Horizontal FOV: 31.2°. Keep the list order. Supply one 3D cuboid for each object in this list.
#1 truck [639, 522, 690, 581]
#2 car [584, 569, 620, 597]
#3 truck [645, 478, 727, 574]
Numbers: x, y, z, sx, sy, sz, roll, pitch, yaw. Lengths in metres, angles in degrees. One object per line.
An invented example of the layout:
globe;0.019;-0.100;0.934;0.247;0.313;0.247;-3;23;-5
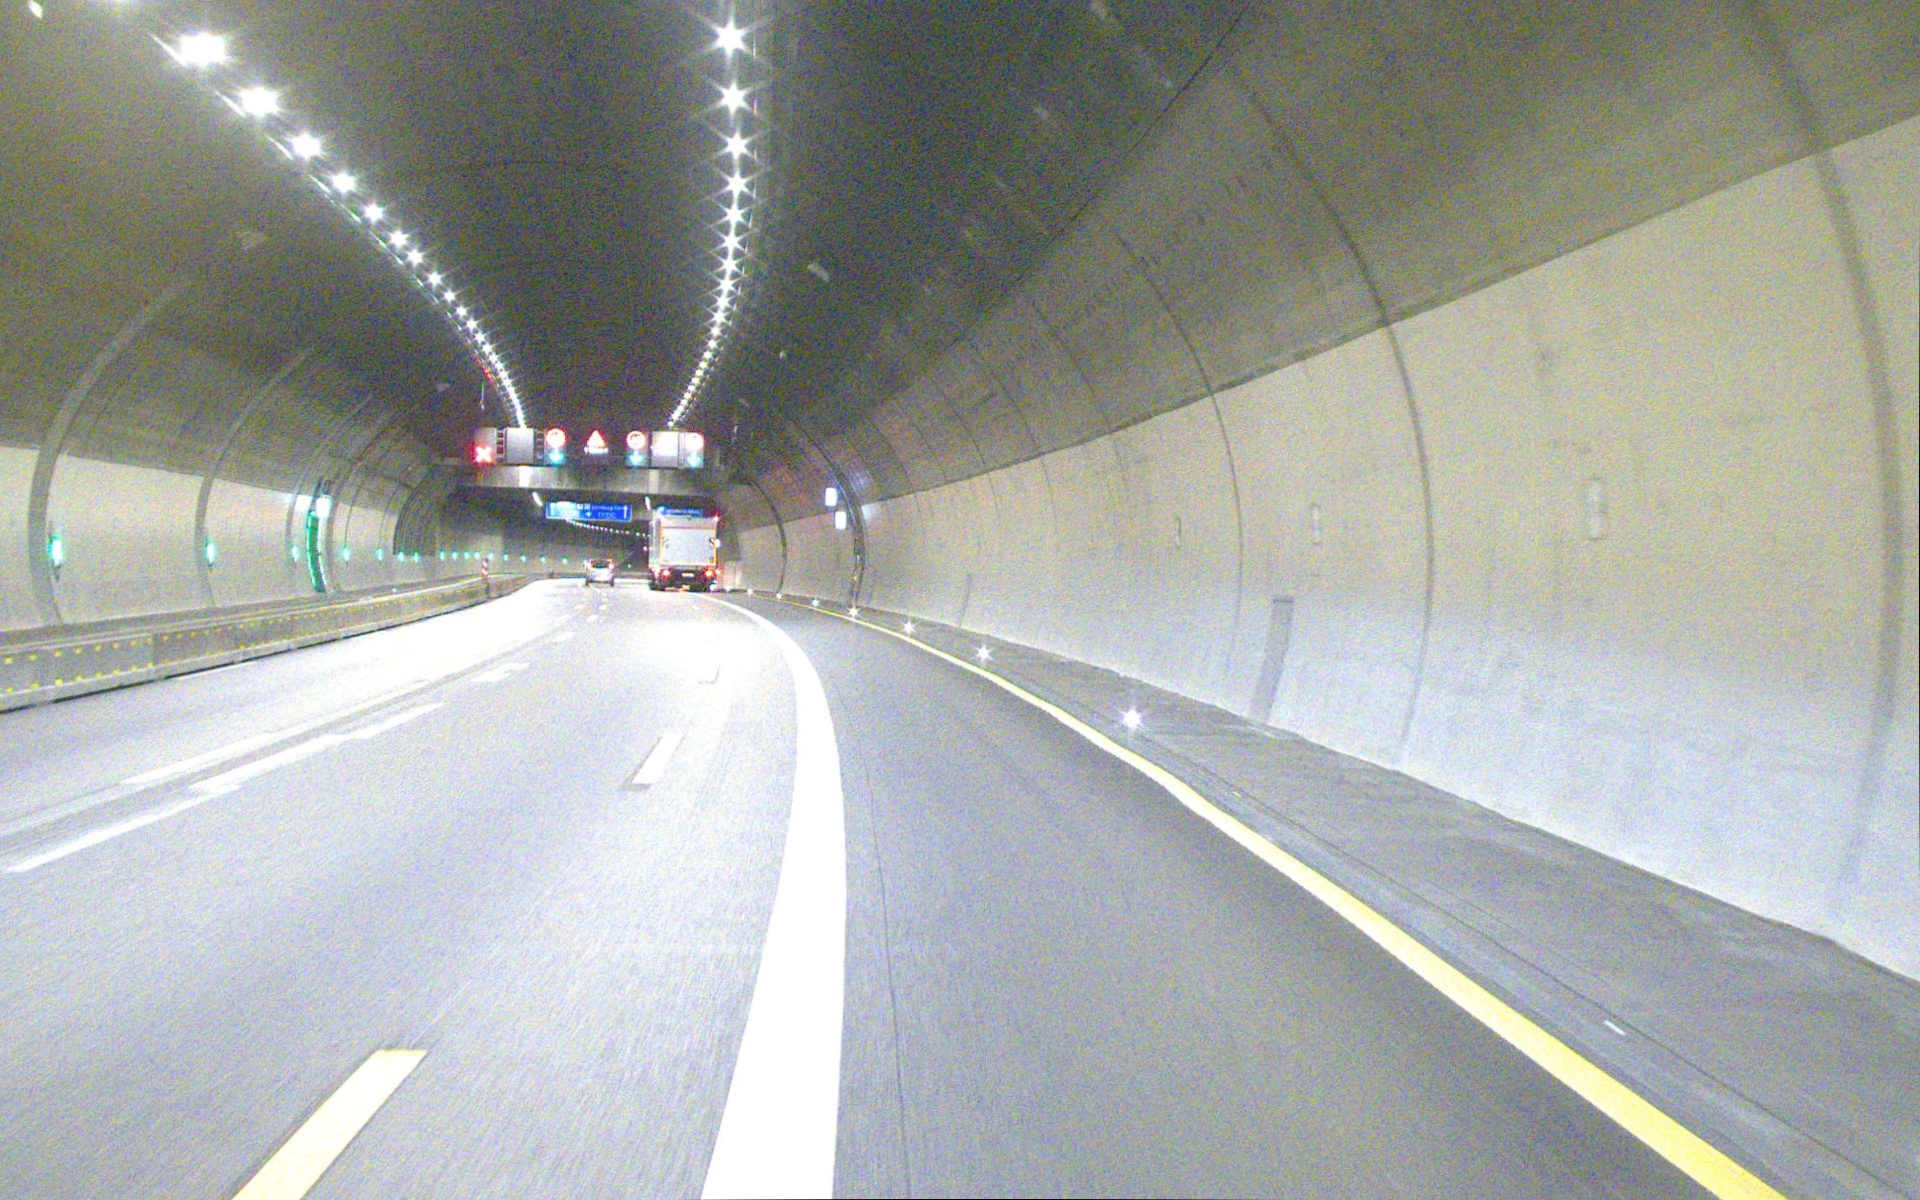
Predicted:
truck;-22.225;-3.649;258.162;3.473;4.301;10.954;-1;1;-6
car;-20.888;-1.000;200.363;1.993;1.576;4.001;1;1;-7
truck;-12.813;-3.423;159.970;3.473;4.301;10.954;0;1;-6
